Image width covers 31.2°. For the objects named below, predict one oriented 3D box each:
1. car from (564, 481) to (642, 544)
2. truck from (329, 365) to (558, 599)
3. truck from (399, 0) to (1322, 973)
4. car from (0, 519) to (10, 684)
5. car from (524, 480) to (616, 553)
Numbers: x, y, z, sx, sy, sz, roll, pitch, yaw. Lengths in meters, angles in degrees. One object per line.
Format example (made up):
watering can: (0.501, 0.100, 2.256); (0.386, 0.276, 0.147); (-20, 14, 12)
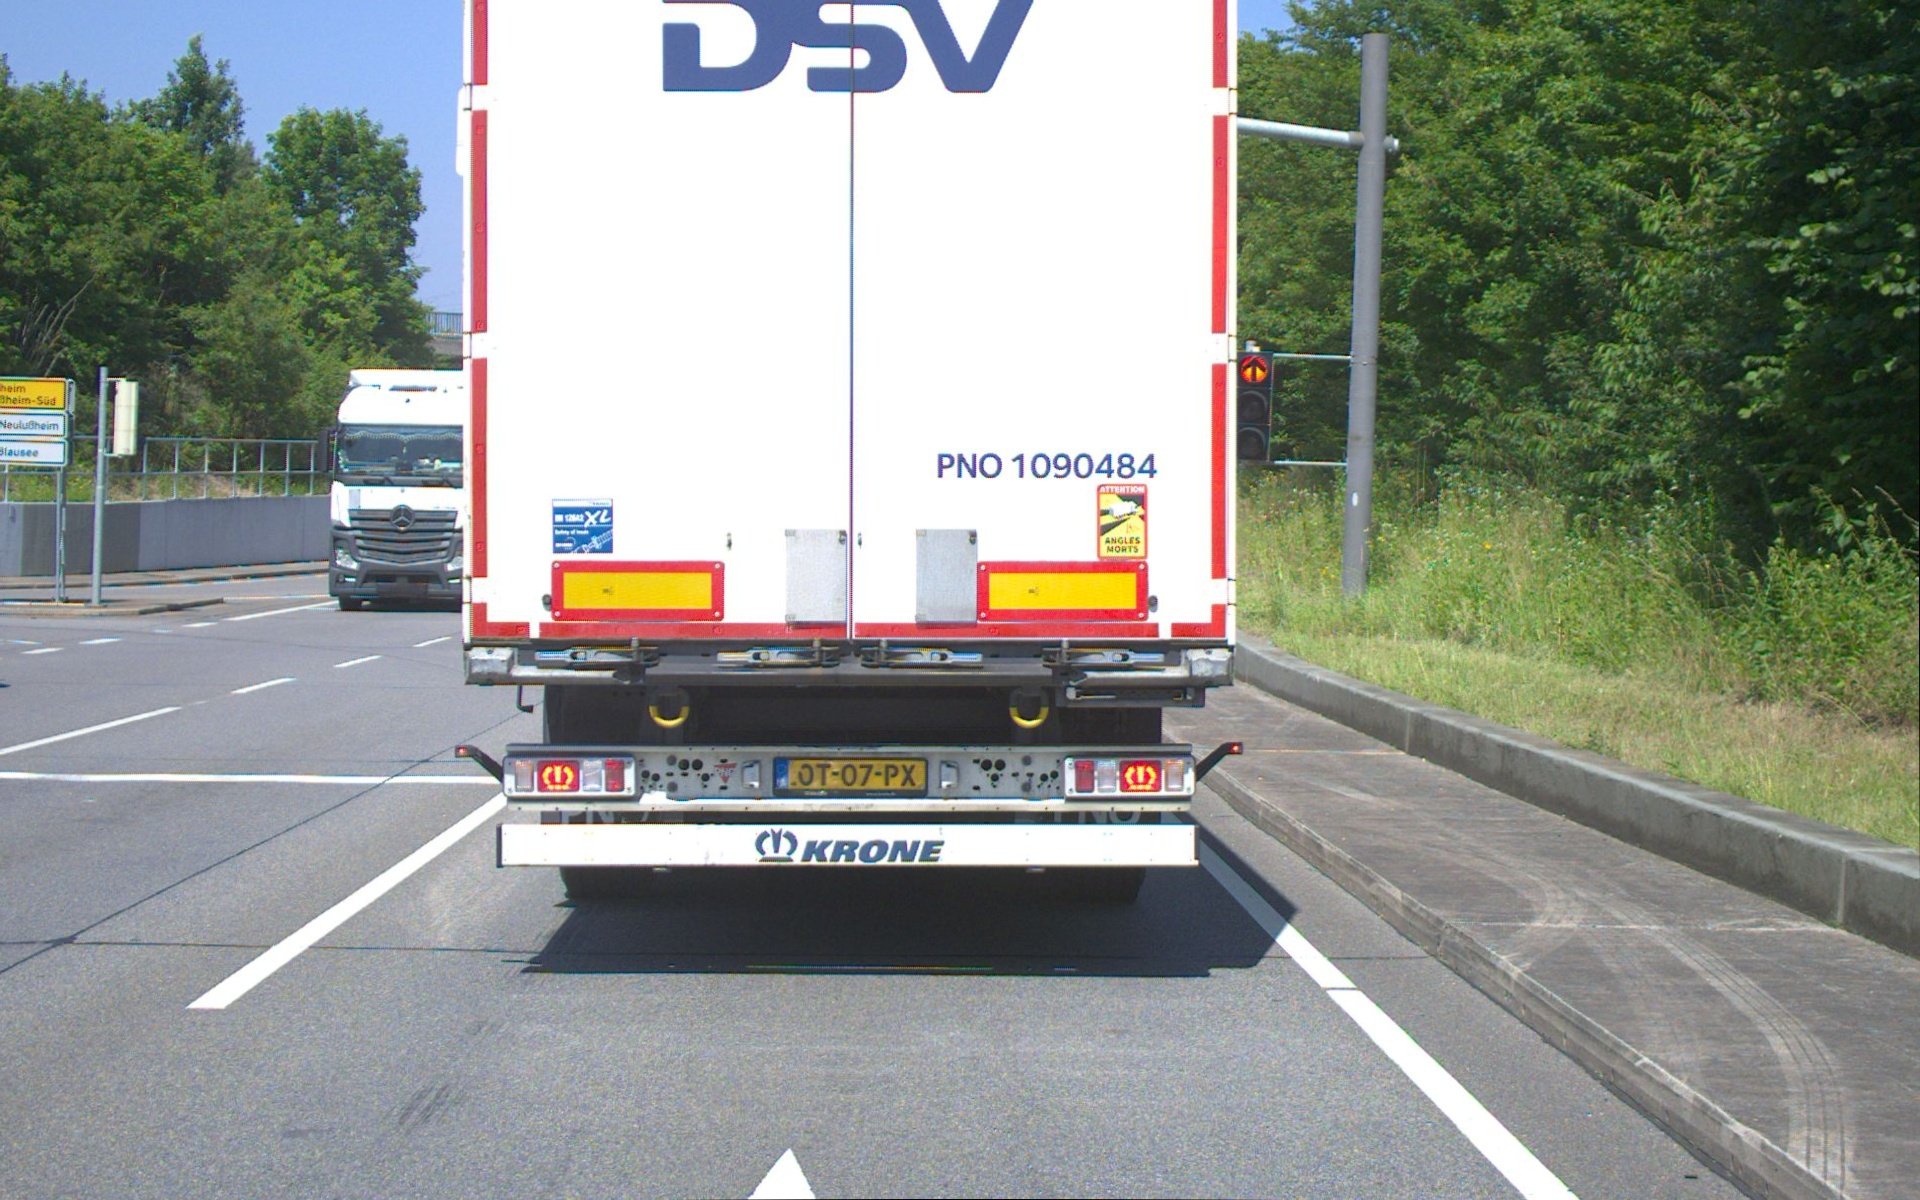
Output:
car: (-9.510, -2.340, 91.737); (1.747, 1.620, 3.704); (1, 2, -1)
truck: (-9.046, -2.097, 61.580); (2.353, 3.737, 12.627); (1, 2, -1)
truck: (-0.366, -1.190, 16.051); (2.950, 4.553, 9.863); (1, 1, -1)
car: (-10.216, -0.032, 31.537); (1.587, 1.464, 3.599); (0, 2, -39)
car: (-8.920, -1.933, 78.922); (1.747, 1.620, 3.704); (1, 2, -1)
